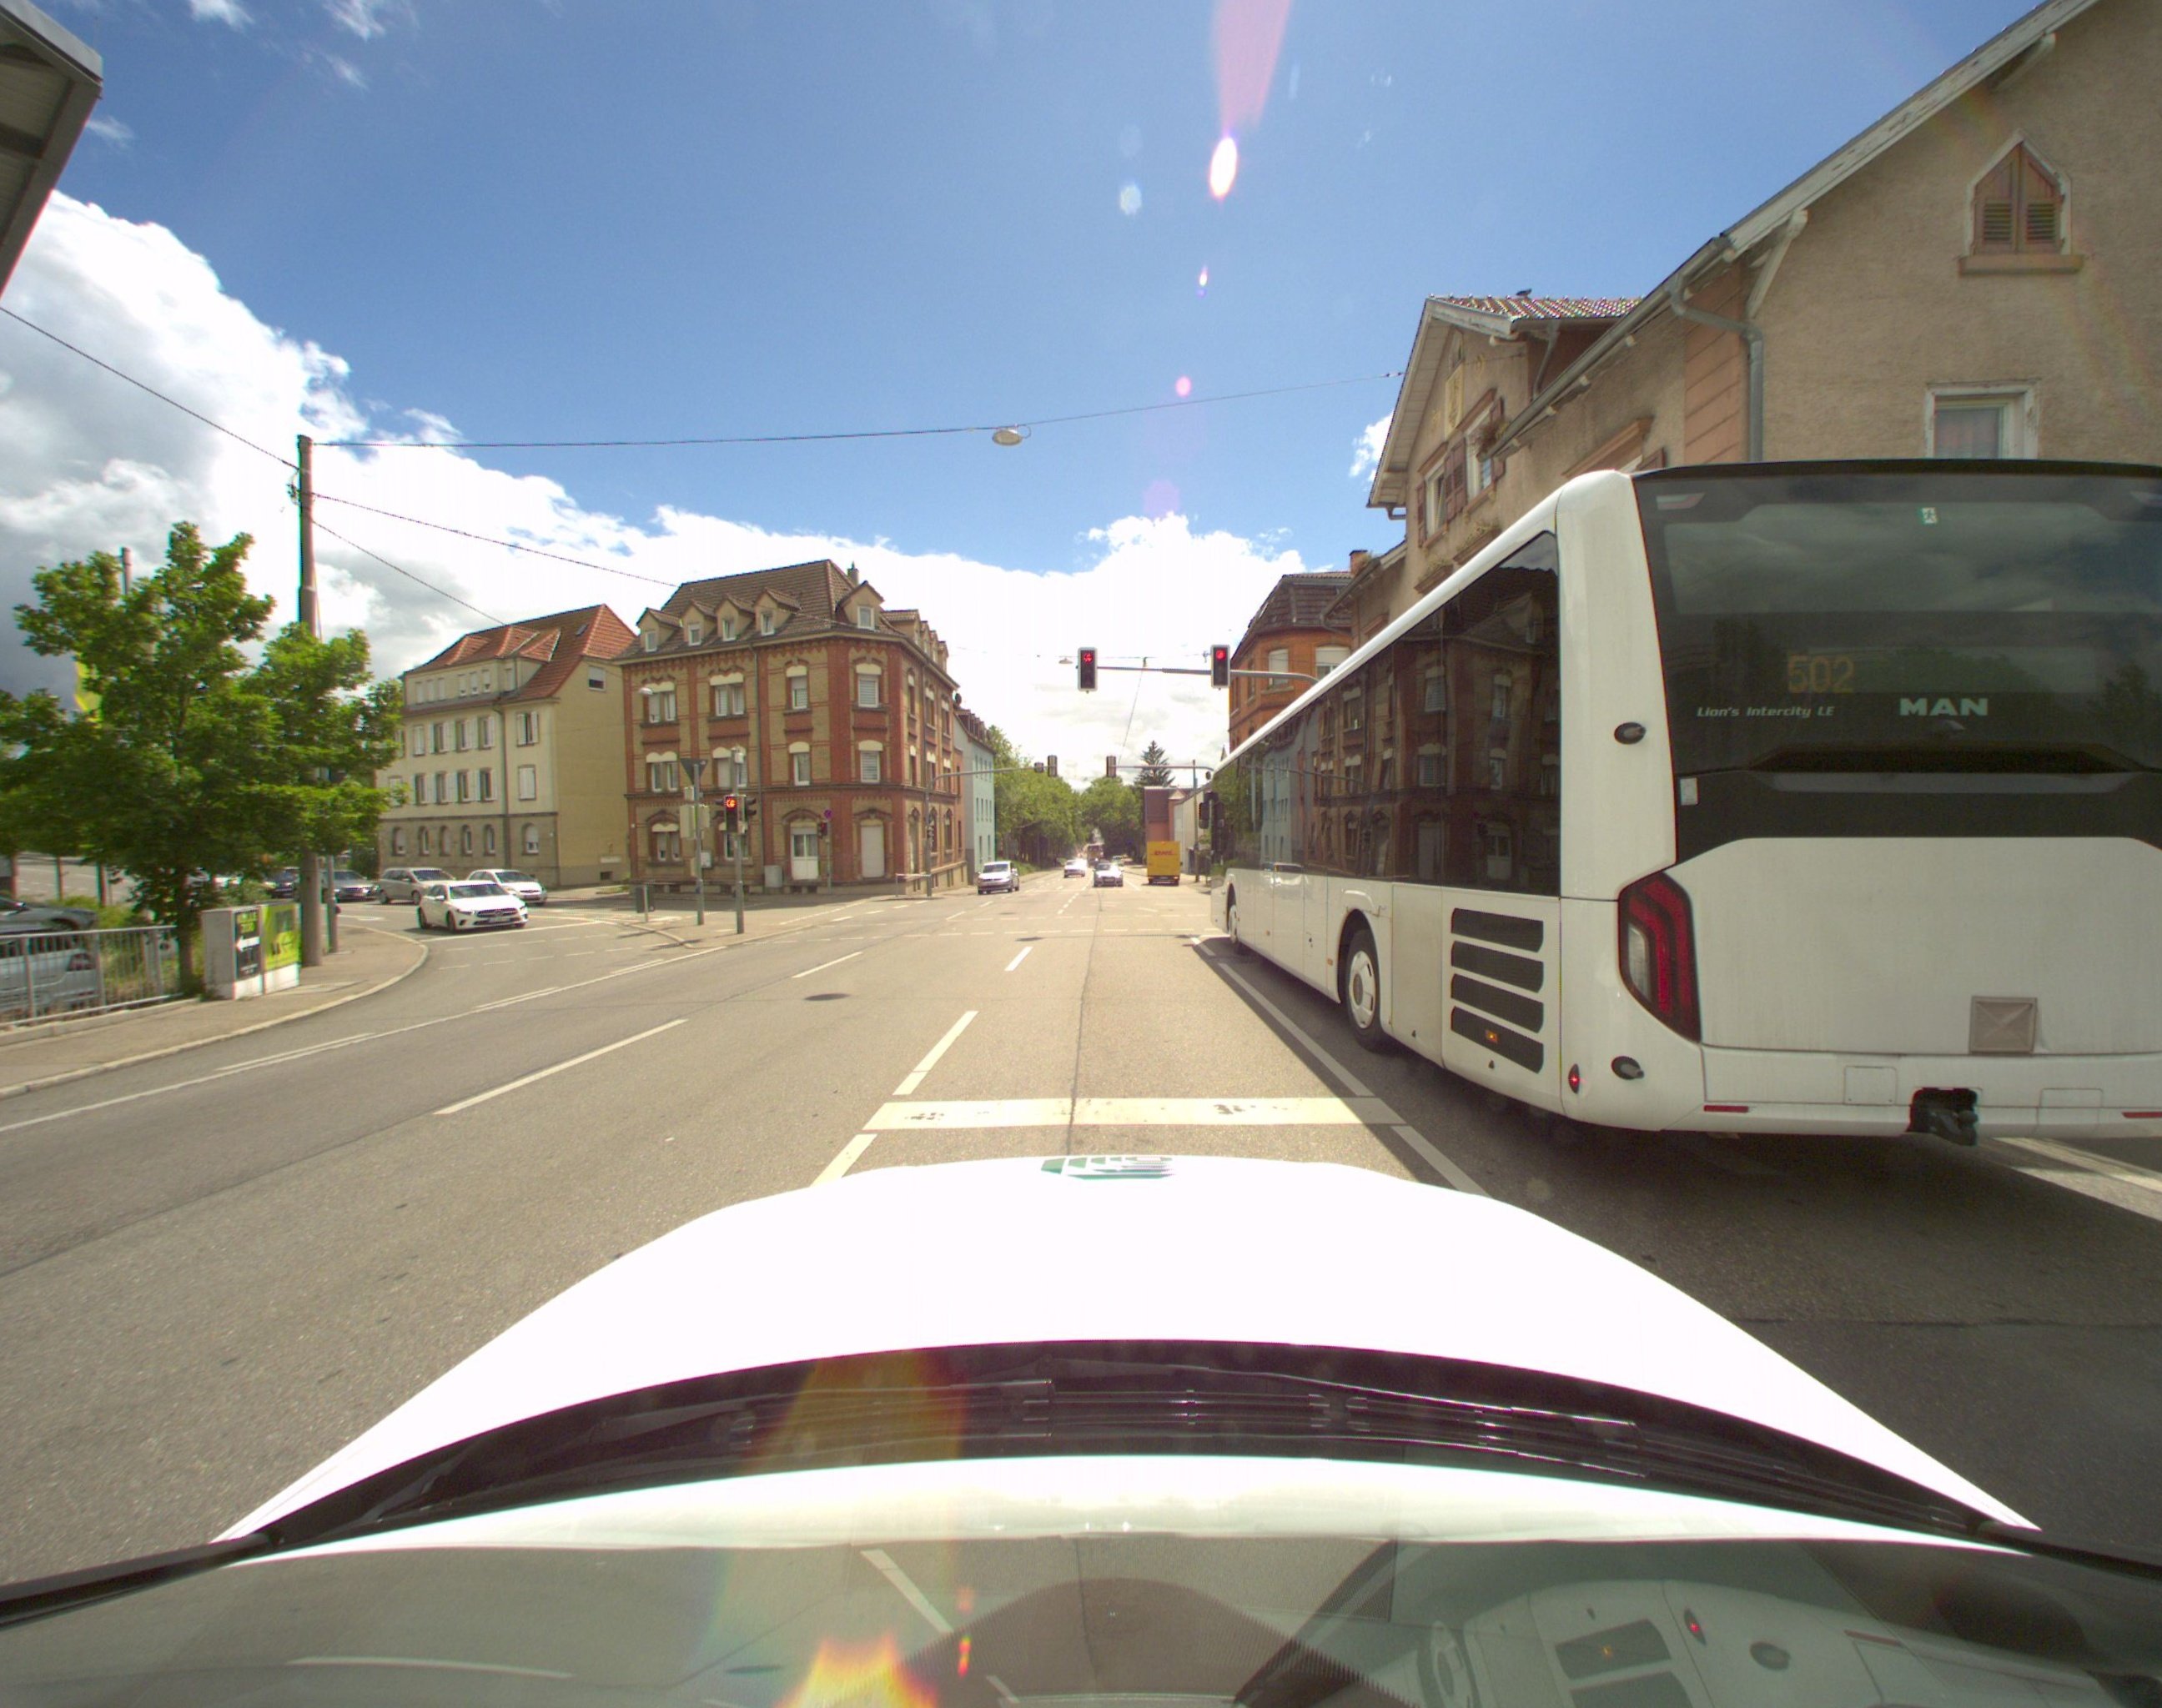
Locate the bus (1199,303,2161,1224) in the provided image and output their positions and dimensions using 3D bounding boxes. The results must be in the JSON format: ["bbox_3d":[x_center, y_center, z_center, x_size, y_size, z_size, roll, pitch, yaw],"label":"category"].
[{"bbox_3d":[3.531,-0.302,9.354,2.893,3.510,12.492,0,-1,2],"label":"bus"}]

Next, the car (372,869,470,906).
[{"bbox_3d":[-29.204,1.470,36.047,3.951,1.519,1.757,-1,0,24],"label":"car"}]

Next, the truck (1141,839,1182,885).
[{"bbox_3d":[5.562,0.525,55.390,2.527,2.913,6.586,0,-1,8],"label":"truck"}]

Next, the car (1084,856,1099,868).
[{"bbox_3d":[1.668,1.275,129.761,2.086,1.830,4.140,-1,0,-1],"label":"car"}]

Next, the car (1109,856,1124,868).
[{"bbox_3d":[5.637,1.249,129.674,2.086,1.830,4.140,-1,0,-1],"label":"car"}]

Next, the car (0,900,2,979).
[{"bbox_3d":[-23.399,1.735,16.430,3.371,1.575,1.526,-1,0,30],"label":"car"}]

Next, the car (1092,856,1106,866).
[{"bbox_3d":[2.611,0.930,115.471,1.858,1.367,4.549,-2,0,2],"label":"car"}]

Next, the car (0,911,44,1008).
[{"bbox_3d":[-19.707,1.832,14.151,3.744,1.523,1.526,-1,0,30],"label":"car"}]

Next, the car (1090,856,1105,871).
[{"bbox_3d":[2.093,1.159,103.461,1.812,1.784,4.002,-2,0,2],"label":"car"}]

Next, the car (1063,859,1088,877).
[{"bbox_3d":[-0.536,1.313,79.461,2.199,1.613,4.549,-2,0,2],"label":"car"}]

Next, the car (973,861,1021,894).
[{"bbox_3d":[-4.411,1.212,43.571,1.928,1.563,4.390,-2,0,2],"label":"car"}]

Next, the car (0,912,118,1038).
[{"bbox_3d":[-16.112,1.740,12.182,3.638,1.575,1.766,-1,-2,34],"label":"car"}]

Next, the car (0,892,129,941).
[{"bbox_3d":[-29.249,1.730,22.213,1.795,1.186,4.025,-1,0,31],"label":"car"}]

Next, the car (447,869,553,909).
[{"bbox_3d":[-23.595,1.392,33.060,3.951,1.497,1.711,-1,0,24],"label":"car"}]

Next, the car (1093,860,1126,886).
[{"bbox_3d":[1.702,1.112,48.951,1.858,1.367,4.549,-2,0,2],"label":"car"}]

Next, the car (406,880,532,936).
[{"bbox_3d":[-18.241,1.541,24.214,4.334,1.447,1.875,-2,0,37],"label":"car"}]

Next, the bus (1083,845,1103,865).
[{"bbox_3d":[2.225,0.258,156.188,3.291,3.631,11.237,-2,0,-1],"label":"bus"}]

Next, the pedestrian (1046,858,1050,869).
[{"bbox_3d":[-5.579,1.641,136.894,0.604,1.758,0.653,-2,0,0],"label":"pedestrian"}]

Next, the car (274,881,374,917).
[{"bbox_3d":[-35.448,2.079,38.139,3.951,1.519,2.011,-1,0,24],"label":"car"}]

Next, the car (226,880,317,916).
[{"bbox_3d":[-40.113,2.133,40.345,4.291,1.586,2.012,-1,0,29],"label":"car"}]
